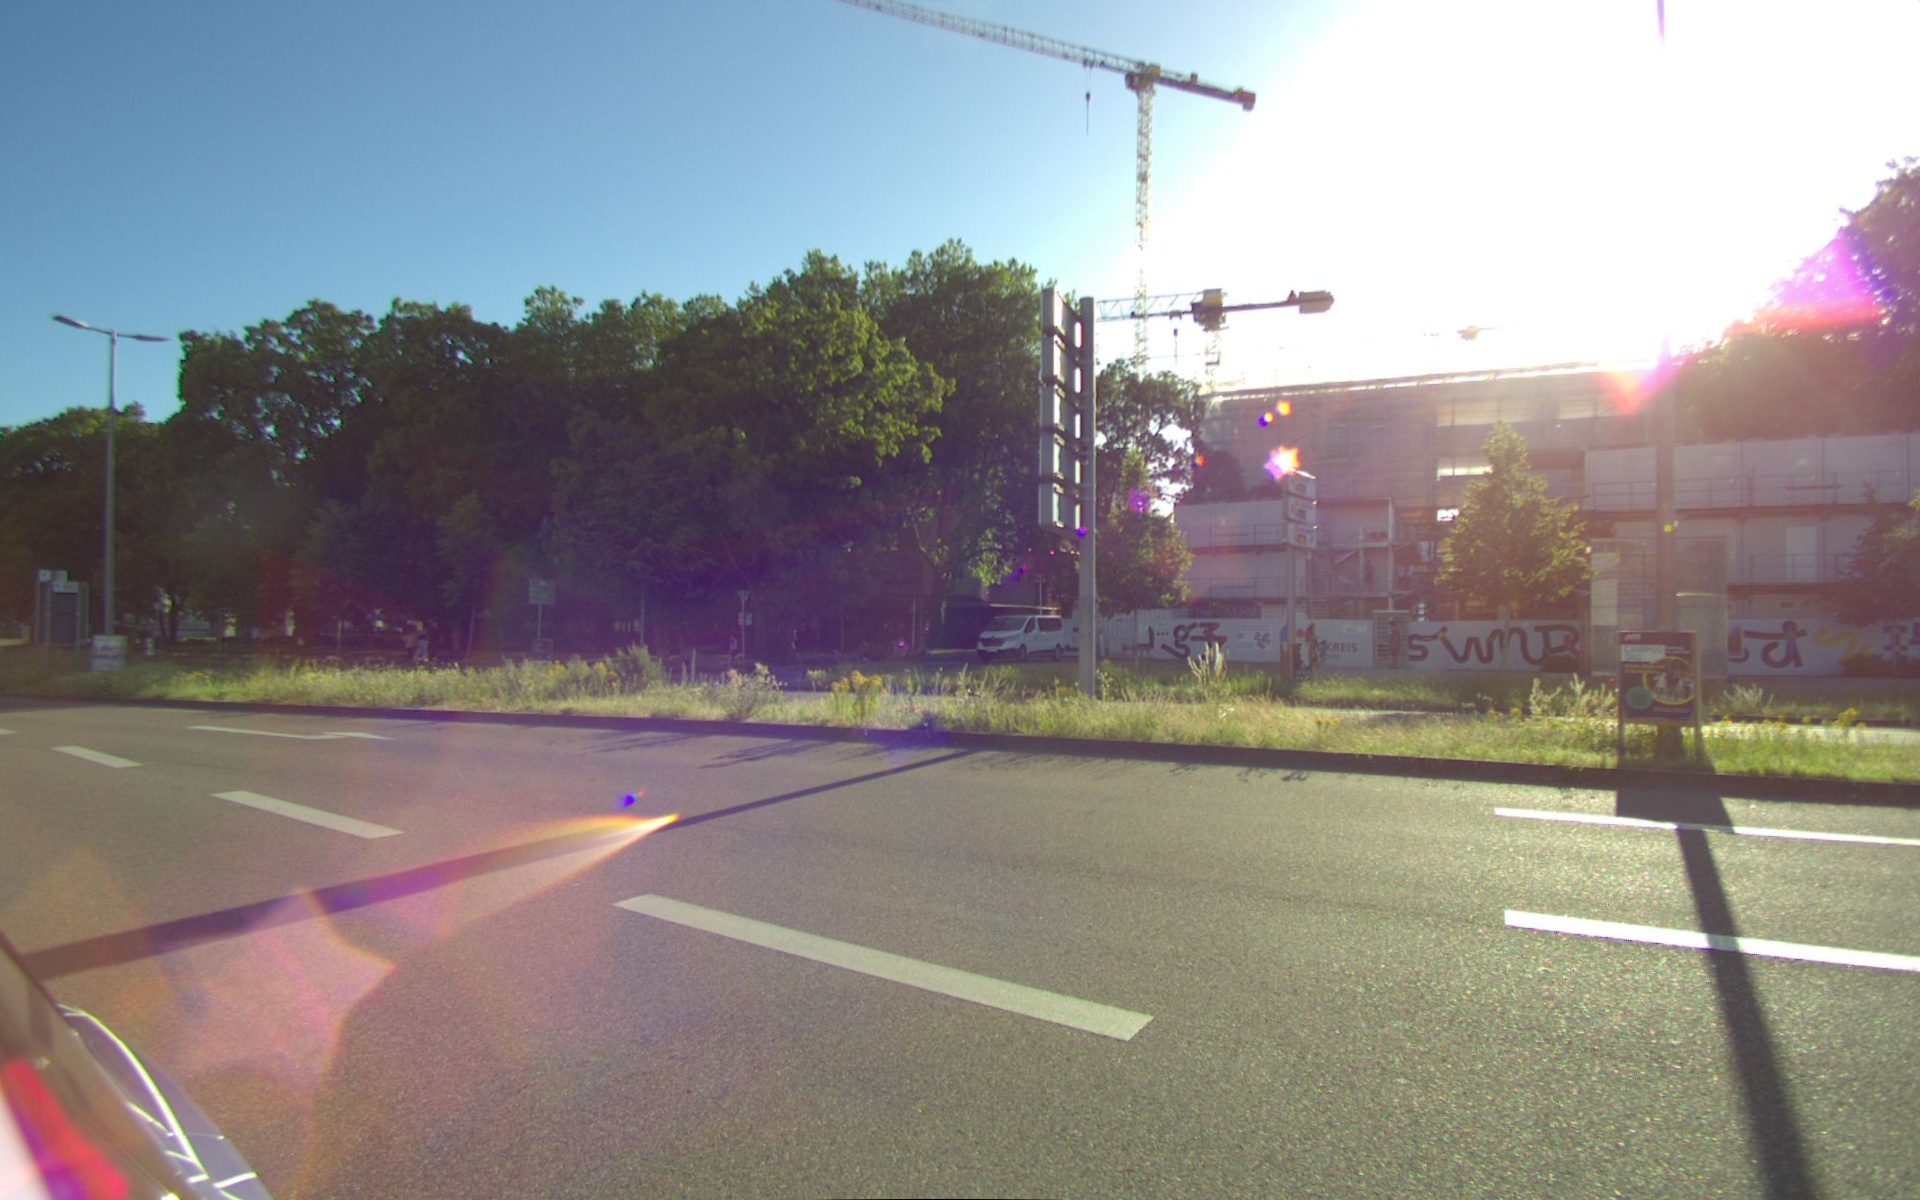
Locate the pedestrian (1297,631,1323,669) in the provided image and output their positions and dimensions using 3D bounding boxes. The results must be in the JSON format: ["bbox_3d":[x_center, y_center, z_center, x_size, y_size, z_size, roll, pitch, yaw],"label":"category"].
[{"bbox_3d":[12.757,1.810,36.851,0.831,1.388,0.576,-1,-2,26],"label":"pedestrian"}]

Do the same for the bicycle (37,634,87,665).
[{"bbox_3d":[-40.756,2.228,45.937,2.244,1.285,0.754,1,-2,23],"label":"bicycle"}]

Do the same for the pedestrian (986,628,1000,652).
[{"bbox_3d":[2.289,2.768,69.712,0.742,1.653,0.718,-1,-2,33],"label":"pedestrian"}]

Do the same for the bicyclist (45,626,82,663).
[{"bbox_3d":[-40.679,1.999,45.901,1.194,1.602,0.744,1,-2,22],"label":"bicyclist"}]

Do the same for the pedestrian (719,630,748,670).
[{"bbox_3d":[-8.801,1.942,39.296,0.939,1.539,0.608,-2,-3,33],"label":"pedestrian"}]

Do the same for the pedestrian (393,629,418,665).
[{"bbox_3d":[-25.533,2.166,46.634,0.723,1.653,0.737,-1,-2,31],"label":"pedestrian"}]

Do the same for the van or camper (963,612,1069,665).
[{"bbox_3d":[2.463,1.632,42.821,2.248,2.029,5.626,1,-2,29],"label":"van or camper"}]

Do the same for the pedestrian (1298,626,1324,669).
[{"bbox_3d":[13.031,1.773,37.568,0.831,1.570,0.576,-1,-2,26],"label":"pedestrian"}]

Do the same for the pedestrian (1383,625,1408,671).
[{"bbox_3d":[16.305,1.806,37.896,0.831,1.701,0.576,-1,-2,26],"label":"pedestrian"}]

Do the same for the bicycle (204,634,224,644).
[{"bbox_3d":[-71.380,3.715,96.890,1.593,0.896,0.765,0,-2,19],"label":"bicycle"}]

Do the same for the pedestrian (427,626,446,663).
[{"bbox_3d":[-24.790,2.114,47.933,0.652,1.754,0.520,-1,-2,31],"label":"pedestrian"}]

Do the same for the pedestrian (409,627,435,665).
[{"bbox_3d":[-25.135,2.137,47.298,0.758,1.754,0.765,-1,-2,31],"label":"pedestrian"}]
